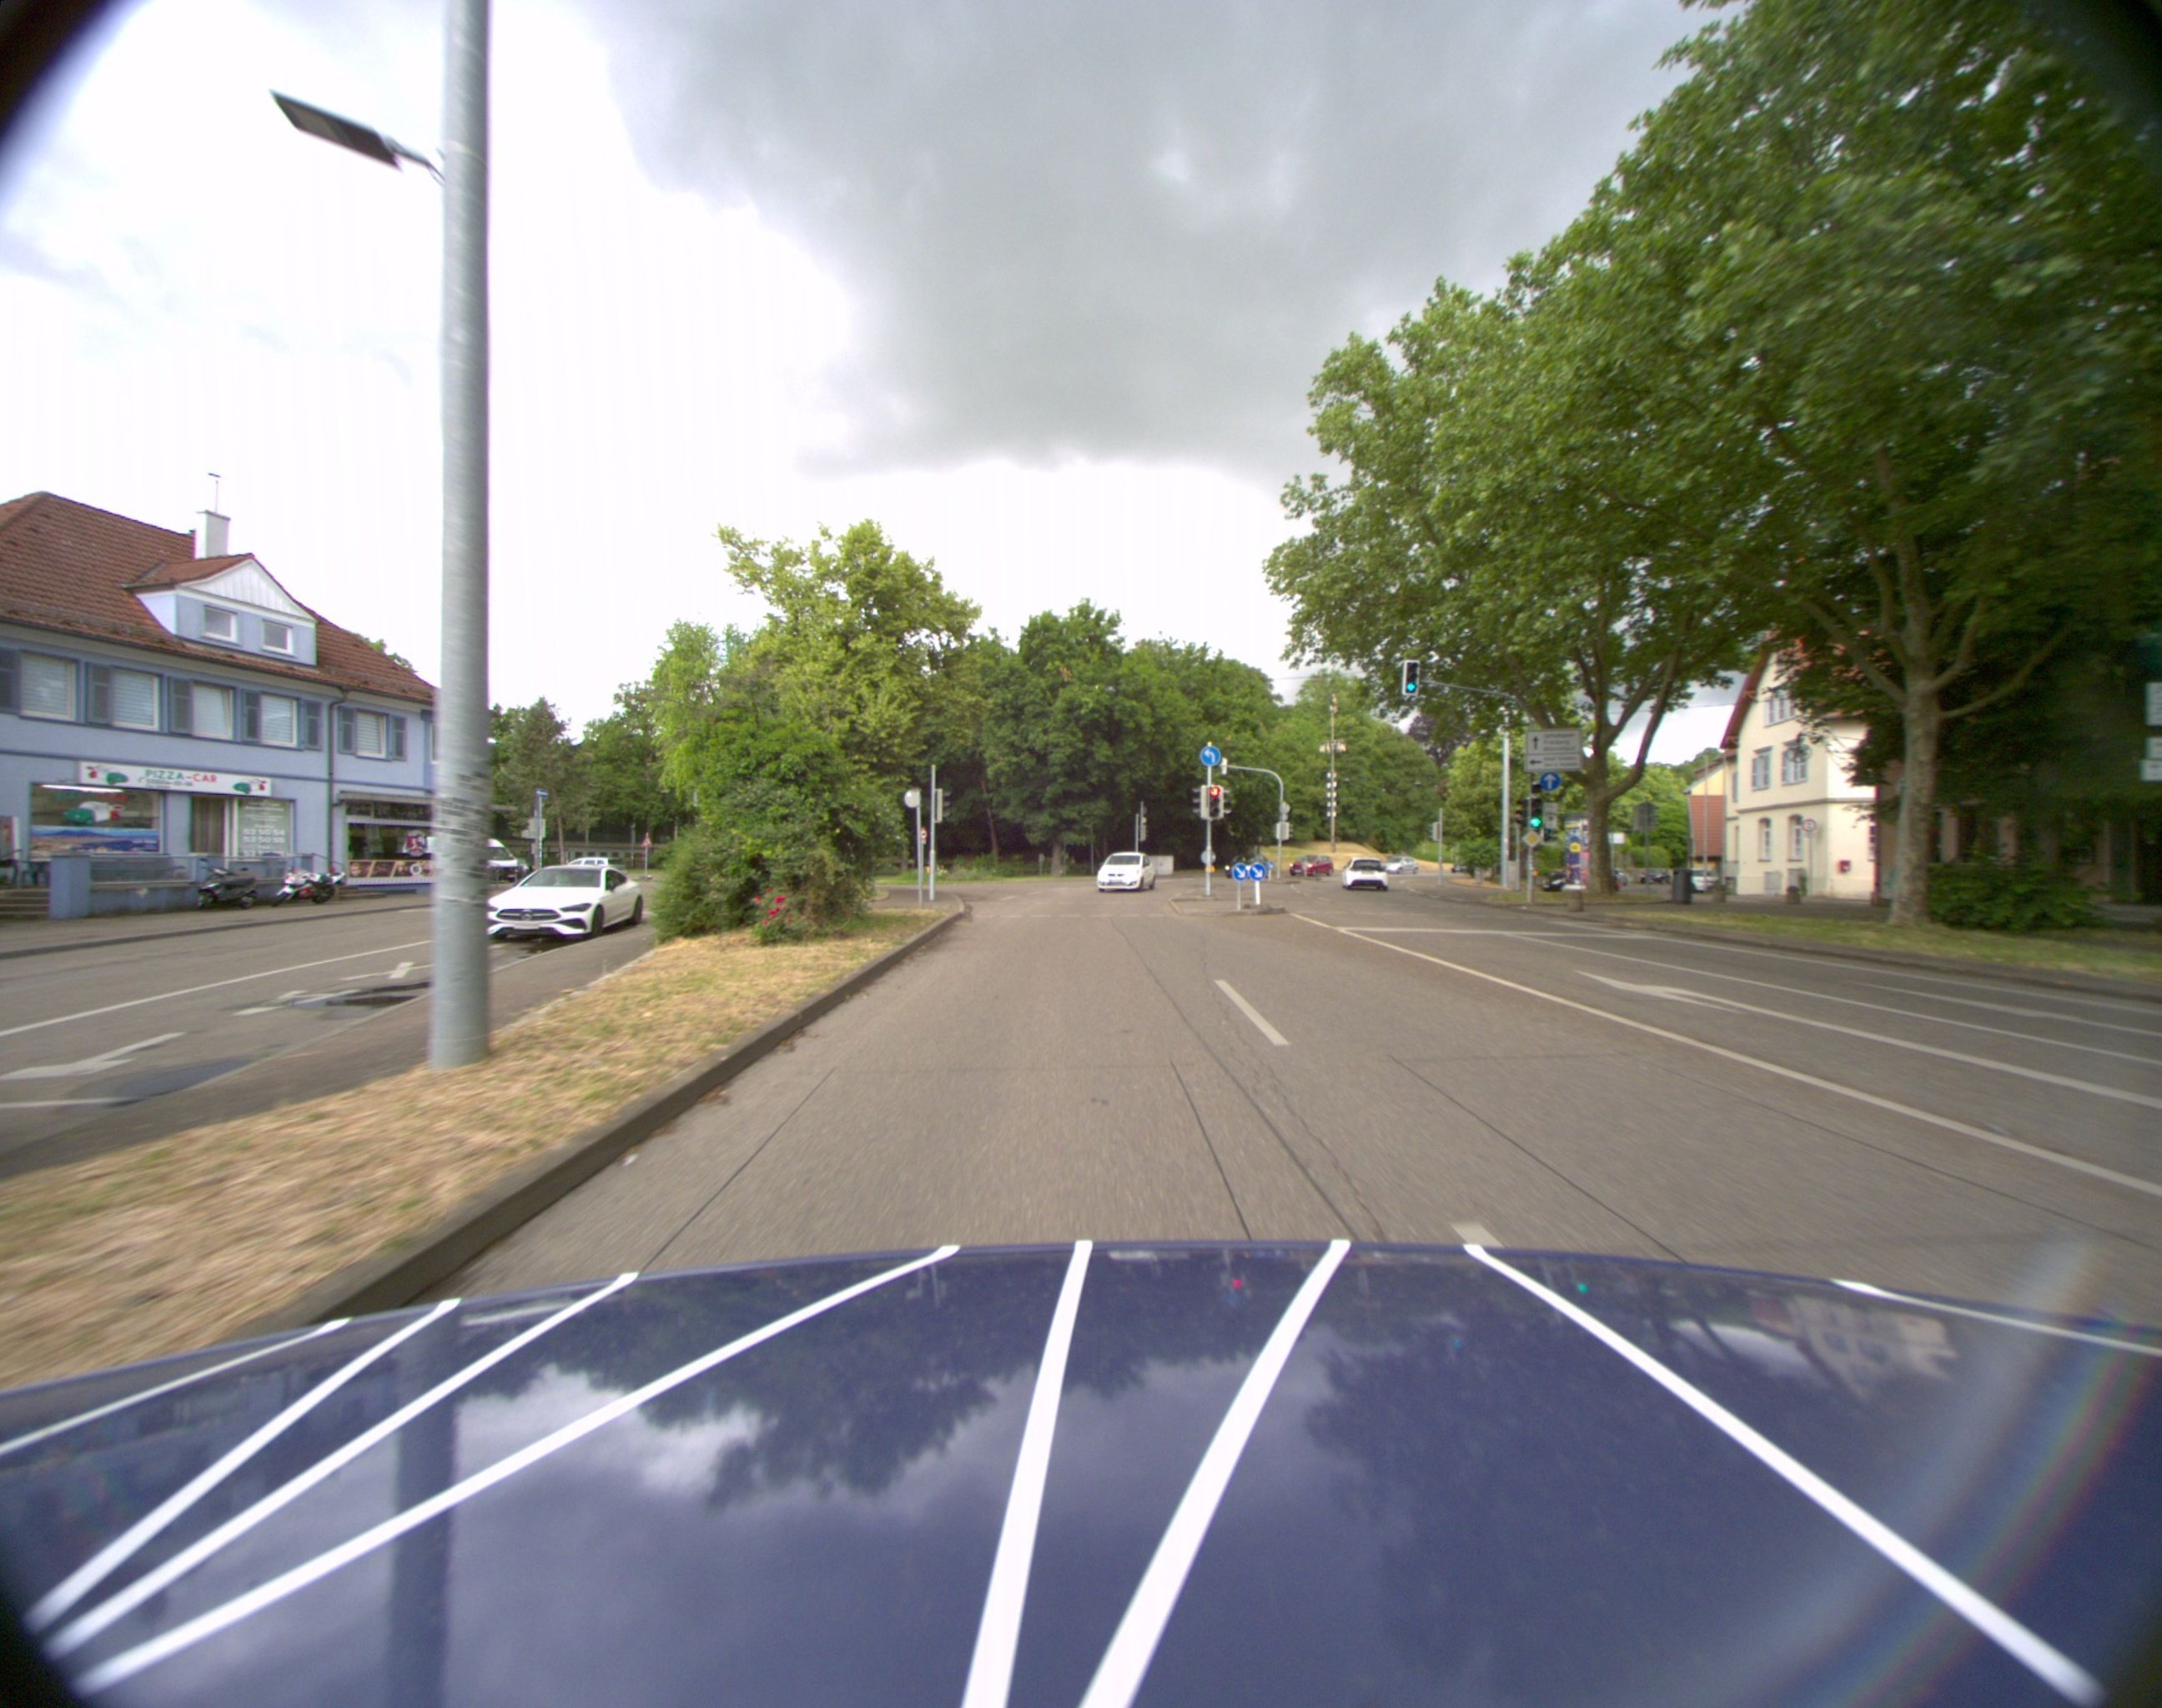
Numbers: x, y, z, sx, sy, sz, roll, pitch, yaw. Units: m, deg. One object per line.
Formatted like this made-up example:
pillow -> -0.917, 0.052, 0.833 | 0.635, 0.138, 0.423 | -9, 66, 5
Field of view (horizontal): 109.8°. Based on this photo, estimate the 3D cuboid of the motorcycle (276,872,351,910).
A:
motorcycle -> -21.824, 1.019, 21.658 | 0.522, 0.980, 1.821 | 0, 1, -9

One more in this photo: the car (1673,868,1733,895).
car -> 38.718, 1.682, 47.397 | 1.650, 1.483, 3.486 | 1, 1, 16

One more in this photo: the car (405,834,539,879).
car -> -33.158, 0.104, 41.428 | 5.949, 2.378, 2.338 | 0, 1, 11

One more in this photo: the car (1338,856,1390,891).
car -> 12.928, 0.838, 34.921 | 1.765, 1.458, 4.026 | 2, 1, 14

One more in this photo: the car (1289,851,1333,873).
car -> 17.458, 0.587, 57.536 | 1.671, 1.632, 4.109 | 1, 1, 40

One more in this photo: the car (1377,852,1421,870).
car -> 28.793, 0.608, 68.708 | 4.007, 1.560, 1.779 | 0, 1, -34

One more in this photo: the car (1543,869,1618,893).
car -> 31.296, 1.681, 47.690 | 3.625, 1.345, 1.600 | 1, 1, 7

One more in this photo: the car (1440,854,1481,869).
car -> 38.399, 0.702, 76.931 | 4.007, 1.449, 1.850 | 0, 1, -32

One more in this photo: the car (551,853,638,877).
car -> -30.655, 0.673, 47.916 | 4.538, 1.447, 1.902 | 0, 1, 12

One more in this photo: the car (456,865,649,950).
car -> -10.859, 0.996, 16.087 | 2.002, 1.378, 4.780 | 0, 1, -17

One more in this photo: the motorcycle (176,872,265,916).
motorcycle -> -21.842, 0.988, 19.330 | 0.490, 1.025, 1.723 | 0, 1, -9

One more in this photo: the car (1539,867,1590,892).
car -> 27.157, 1.448, 42.684 | 3.407, 1.302, 1.479 | 2, 0, -41

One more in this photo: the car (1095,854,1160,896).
car -> 1.864, 0.740, 29.384 | 1.626, 1.499, 4.005 | 0, 0, 17

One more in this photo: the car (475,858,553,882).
car -> -36.361, 1.013, 48.752 | 3.951, 1.447, 1.803 | 0, 1, 12

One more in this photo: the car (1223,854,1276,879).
car -> 10.825, 0.780, 48.517 | 1.726, 1.512, 4.008 | 1, 1, 38
